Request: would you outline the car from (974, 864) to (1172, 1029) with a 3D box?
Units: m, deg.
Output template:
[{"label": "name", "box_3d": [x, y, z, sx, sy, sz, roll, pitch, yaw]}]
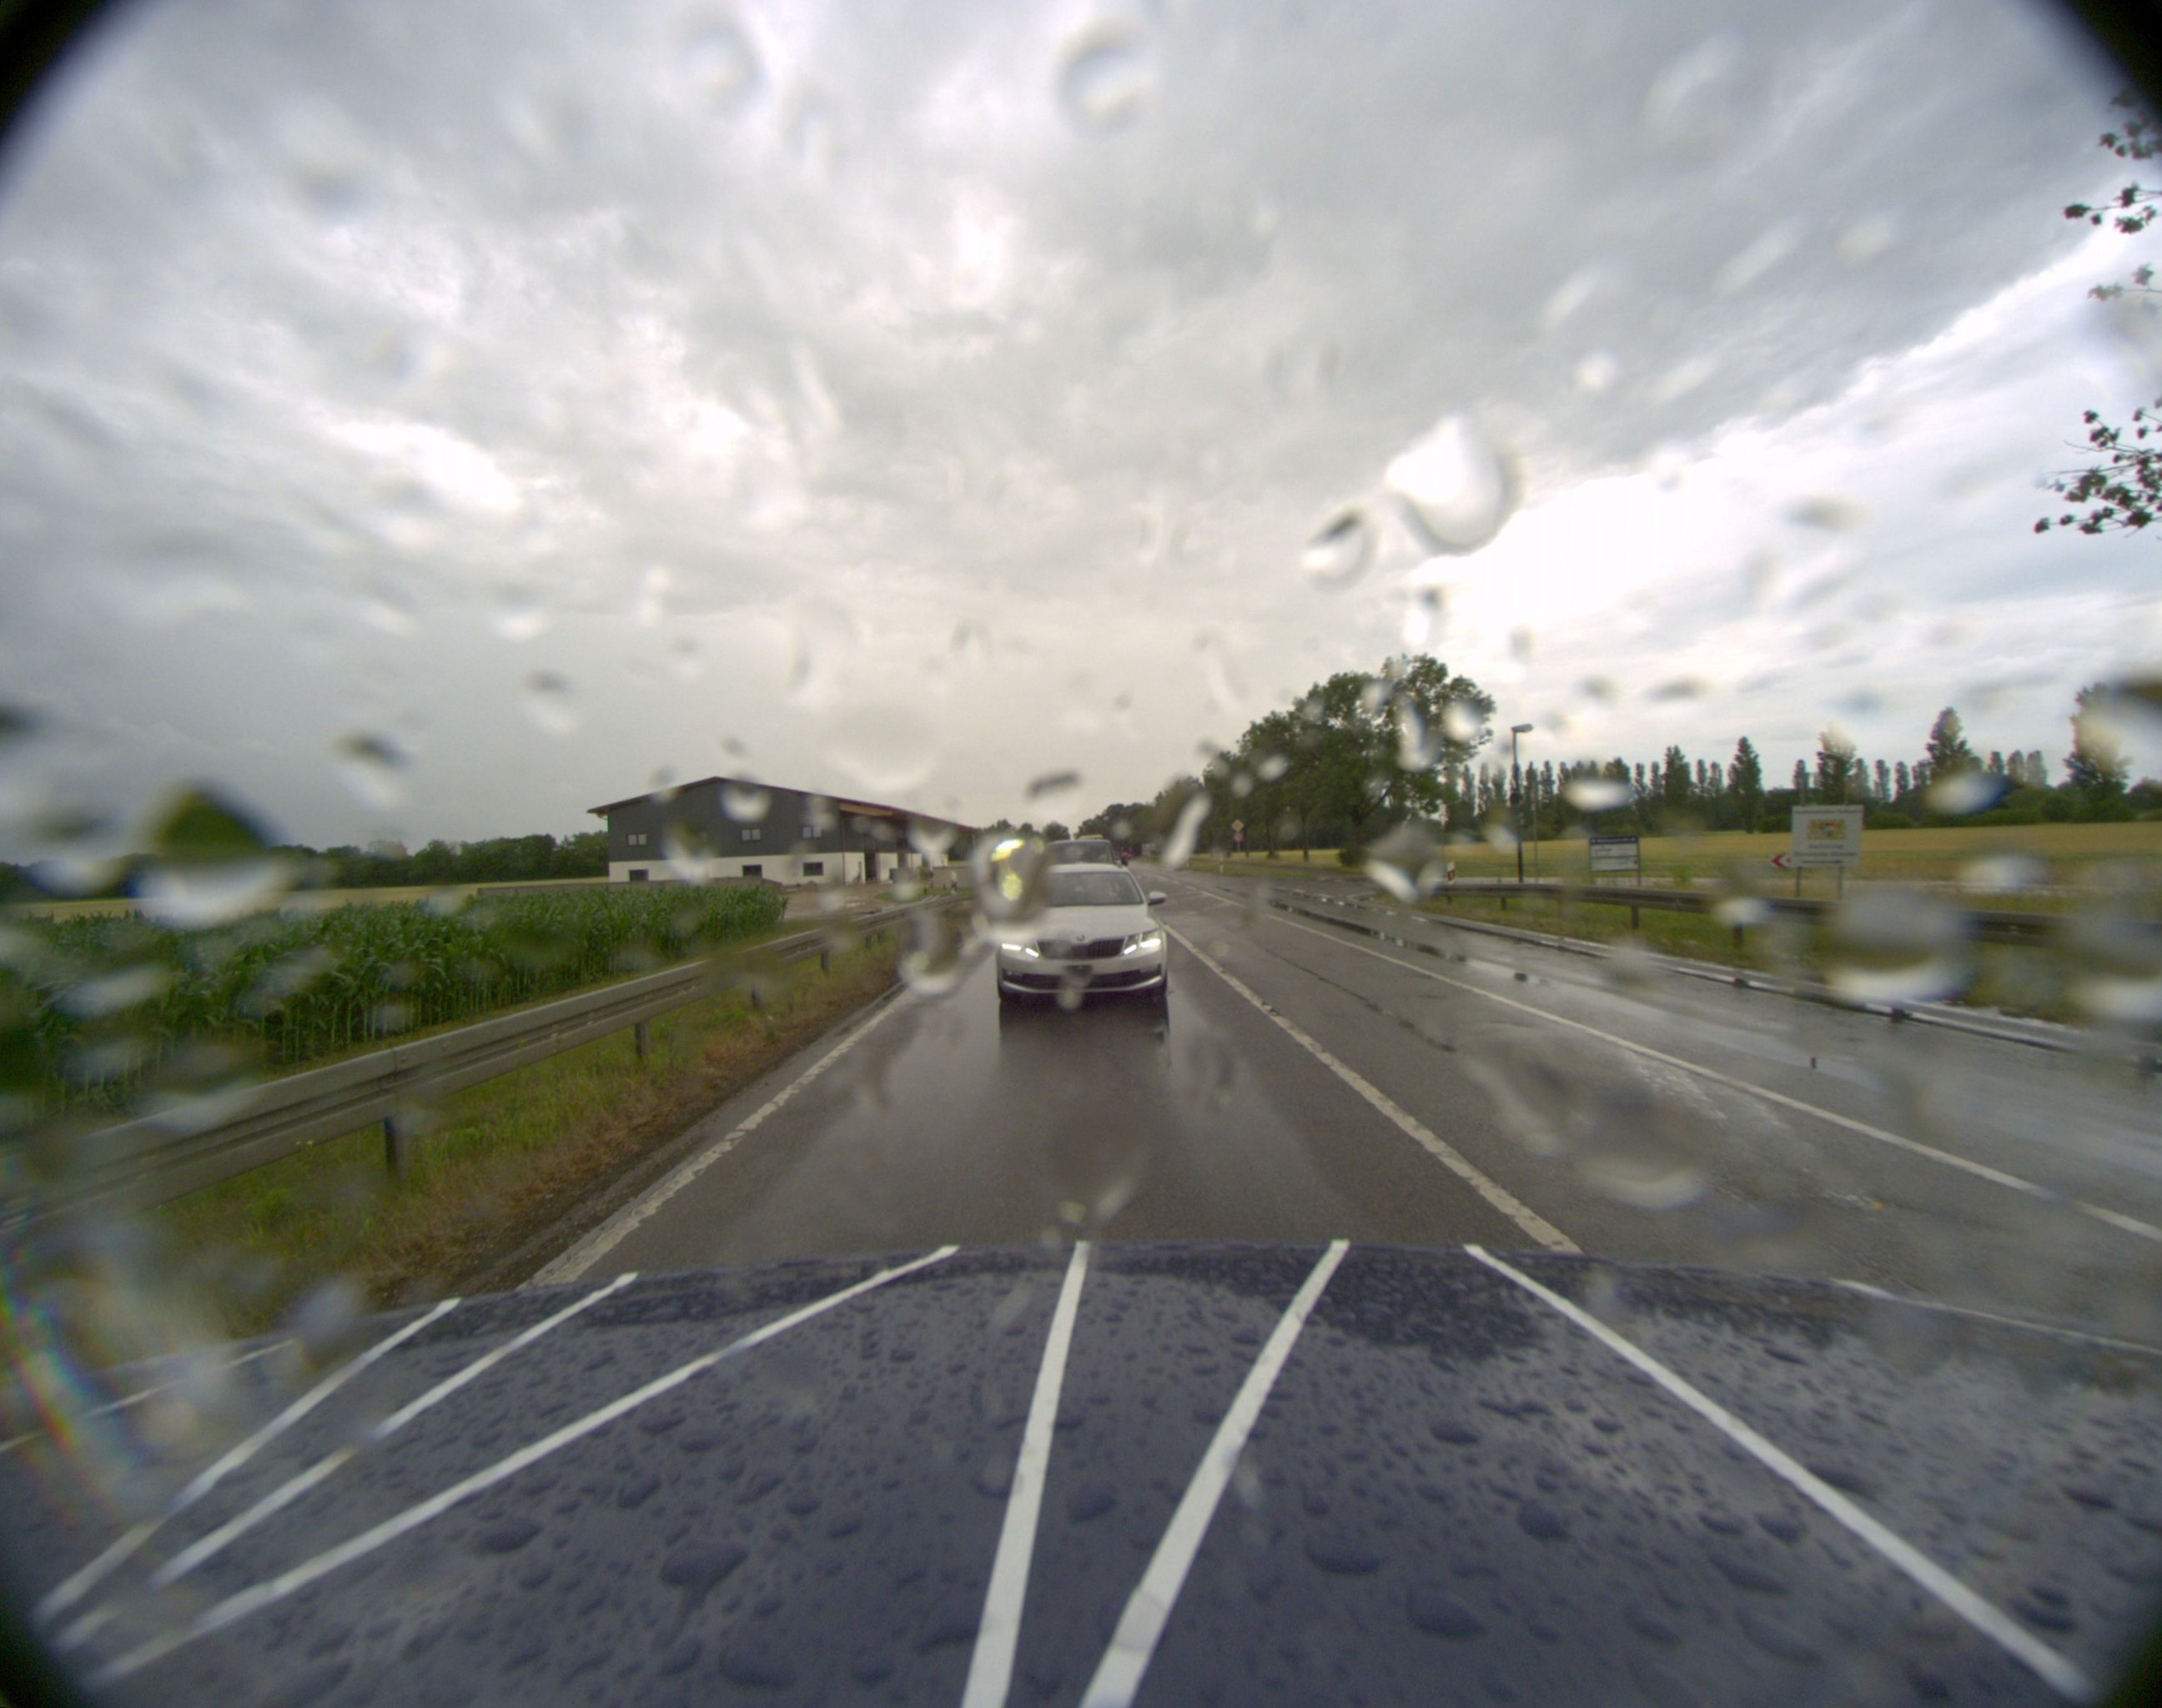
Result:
[{"label": "car", "box_3d": [-0.019, 0.887, 9.316, 1.770, 1.365, 4.575, -2, 0, 1]}]

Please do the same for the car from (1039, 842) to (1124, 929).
[{"label": "car", "box_3d": [0.071, 0.703, 19.473, 1.841, 1.888, 4.575, -2, 1, 1]}]

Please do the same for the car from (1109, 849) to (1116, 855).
[{"label": "car", "box_3d": [7.789, -0.412, 188.992, 1.773, 1.514, 4.141, -1, 0, 1]}]

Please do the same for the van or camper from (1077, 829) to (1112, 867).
[{"label": "van or camper", "box_3d": [1.440, -0.641, 79.069, 3.342, 3.624, 8.373, -2, 1, 1]}]

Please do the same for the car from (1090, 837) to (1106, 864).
[{"label": "car", "box_3d": [2.053, -0.427, 91.088, 1.771, 3.134, 4.028, -3, 0, 1]}]
